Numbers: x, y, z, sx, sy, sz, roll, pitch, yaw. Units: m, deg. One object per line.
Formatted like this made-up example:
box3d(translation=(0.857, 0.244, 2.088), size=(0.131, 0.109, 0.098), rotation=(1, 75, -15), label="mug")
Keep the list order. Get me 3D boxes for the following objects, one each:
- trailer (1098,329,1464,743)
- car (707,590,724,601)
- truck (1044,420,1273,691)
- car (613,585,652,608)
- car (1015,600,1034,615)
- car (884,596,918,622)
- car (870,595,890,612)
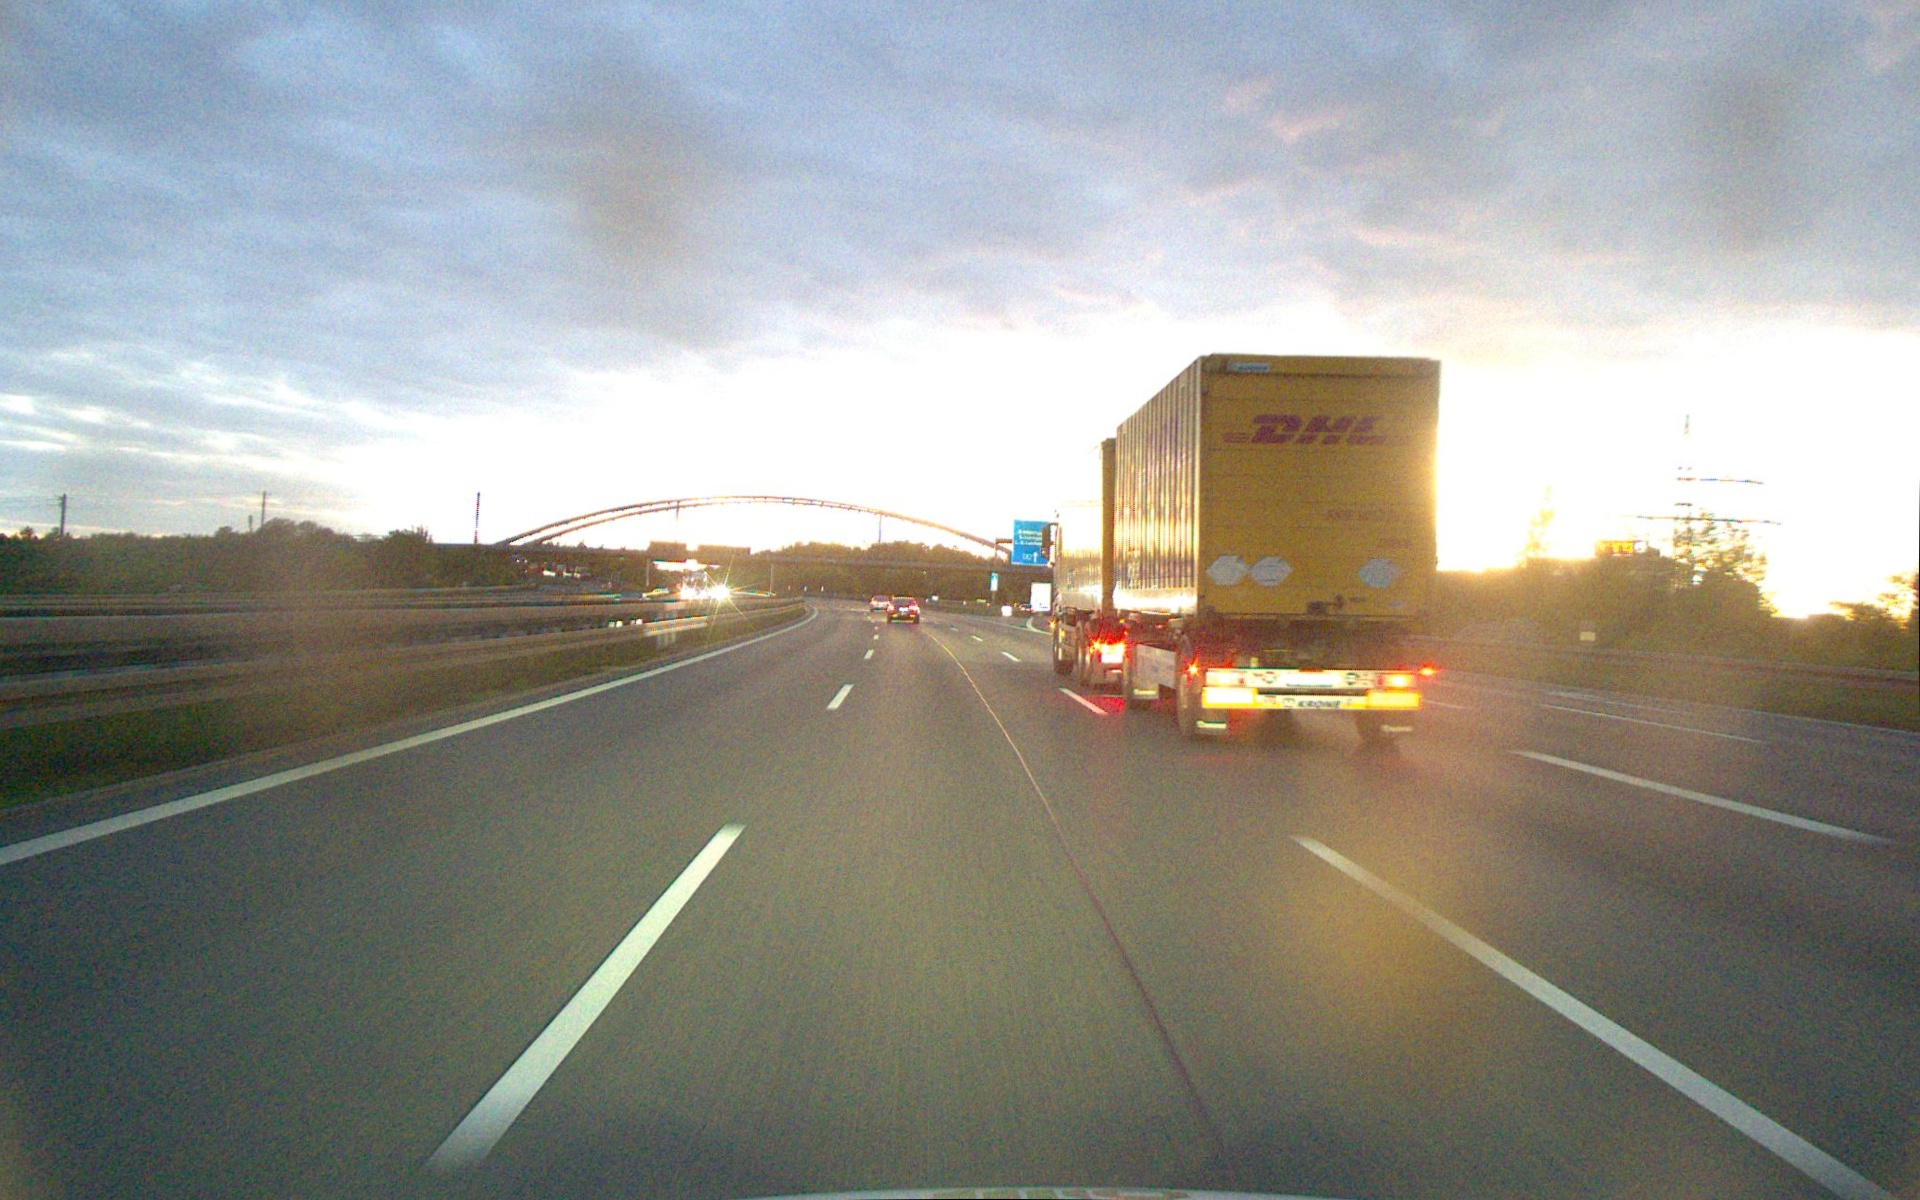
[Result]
box3d(translation=(3.627, -0.664, 21.179), size=(2.667, 4.142, 8.828), rotation=(1, 0, -2), label="trailer")
box3d(translation=(-36.373, -0.687, 245.772), size=(1.953, 1.653, 4.841), rotation=(1, 0, -2), label="car")
box3d(translation=(3.338, -0.703, 30.851), size=(2.636, 4.142, 10.516), rotation=(1, 0, -2), label="truck")
box3d(translation=(-20.991, -0.239, 106.146), size=(1.955, 1.428, 4.792), rotation=(1, 0, -6), label="car")
box3d(translation=(8.268, 0.924, 212.107), size=(1.954, 1.747, 3.996), rotation=(2, -2, -4), label="car")
box3d(translation=(-3.400, 0.524, 94.790), size=(1.658, 1.426, 3.402), rotation=(1, -1, -8), label="car")
box3d(translation=(-7.302, 0.308, 151.086), size=(1.655, 1.426, 3.408), rotation=(1, -2, -1), label="car")
